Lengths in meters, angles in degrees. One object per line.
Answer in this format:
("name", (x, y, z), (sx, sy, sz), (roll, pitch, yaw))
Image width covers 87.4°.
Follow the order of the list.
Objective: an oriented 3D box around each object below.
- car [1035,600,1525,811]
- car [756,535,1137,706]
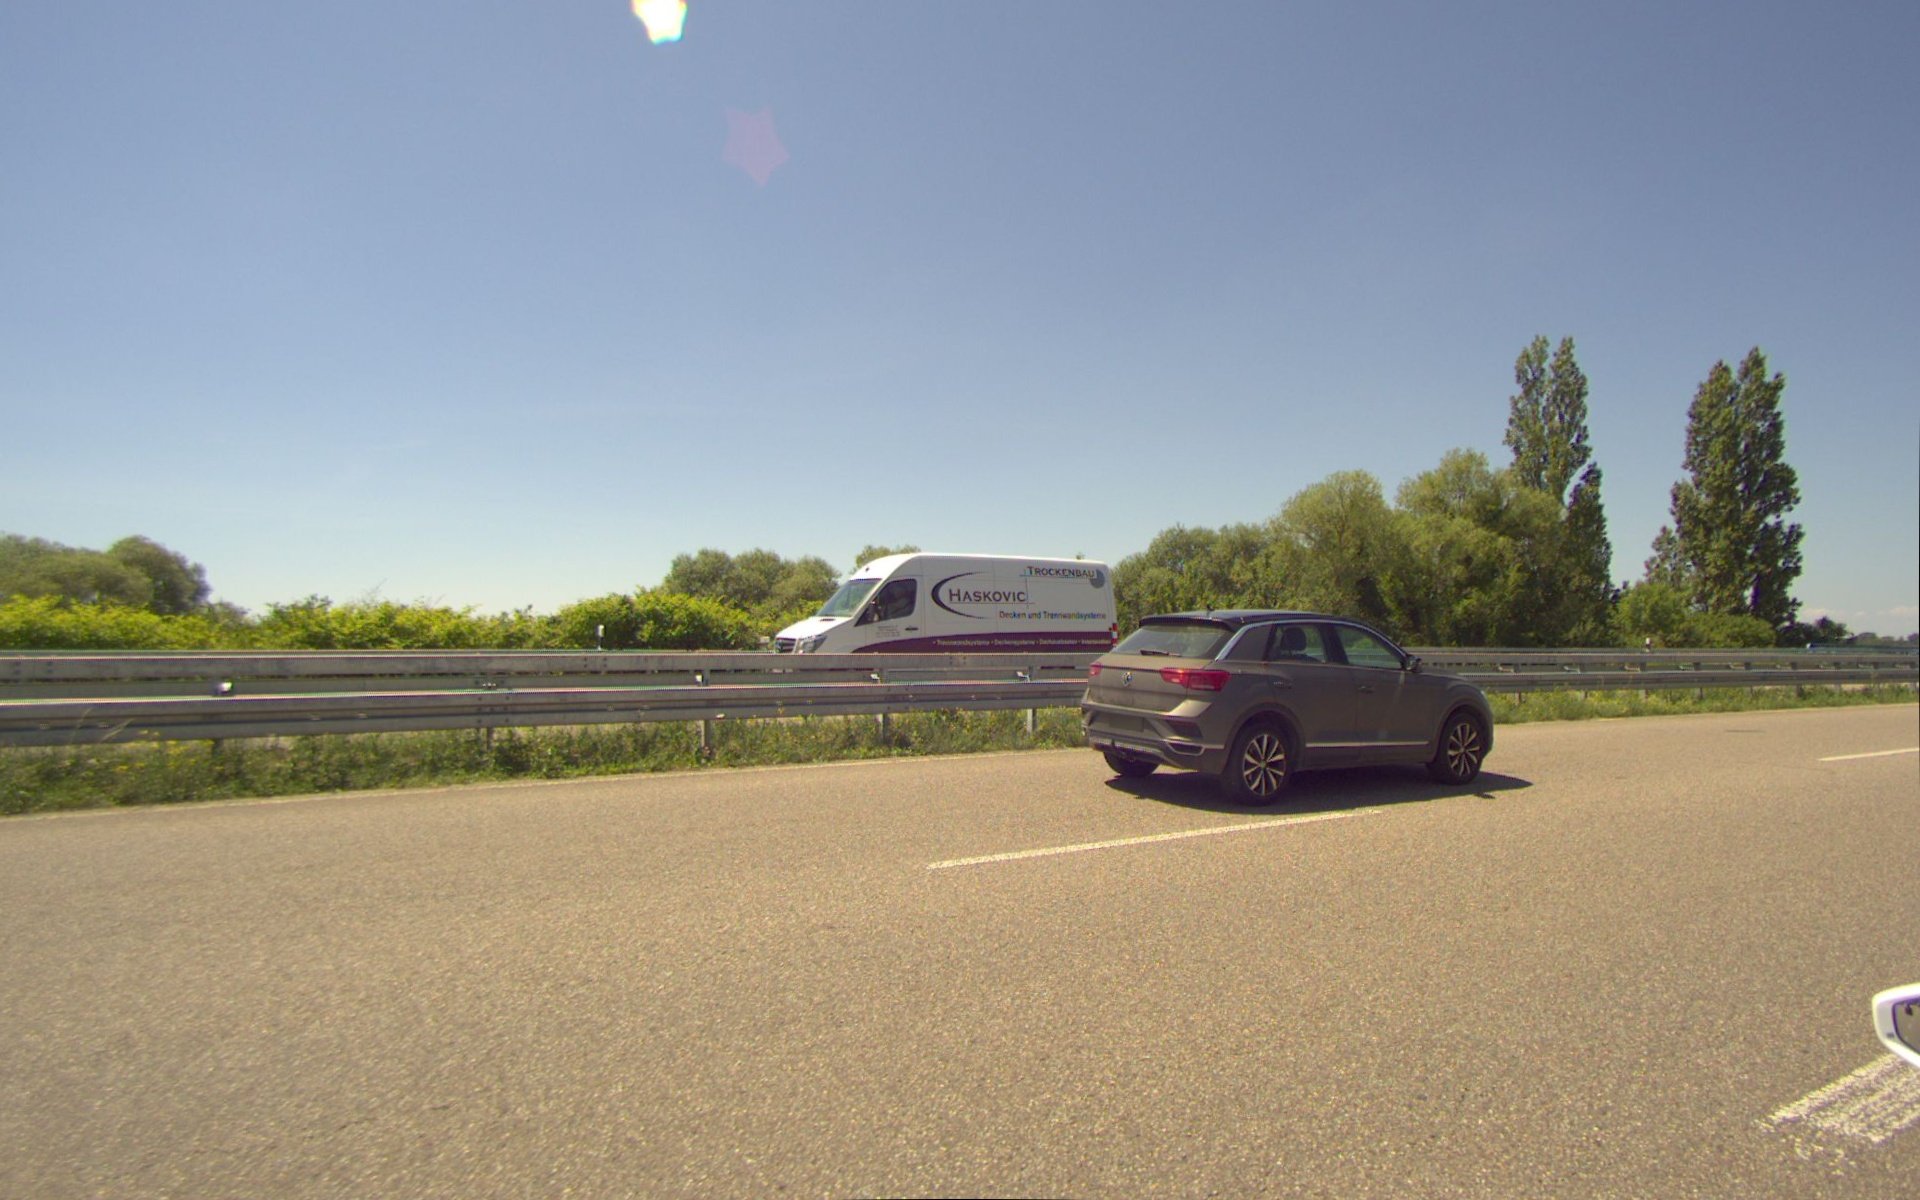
("car", (3.032, 0.827, 9.276), (4.417, 1.550, 1.833), (1, -1, -30))
("car", (-0.101, 0.524, 19.360), (7.138, 2.810, 2.268), (3, -3, -30))
